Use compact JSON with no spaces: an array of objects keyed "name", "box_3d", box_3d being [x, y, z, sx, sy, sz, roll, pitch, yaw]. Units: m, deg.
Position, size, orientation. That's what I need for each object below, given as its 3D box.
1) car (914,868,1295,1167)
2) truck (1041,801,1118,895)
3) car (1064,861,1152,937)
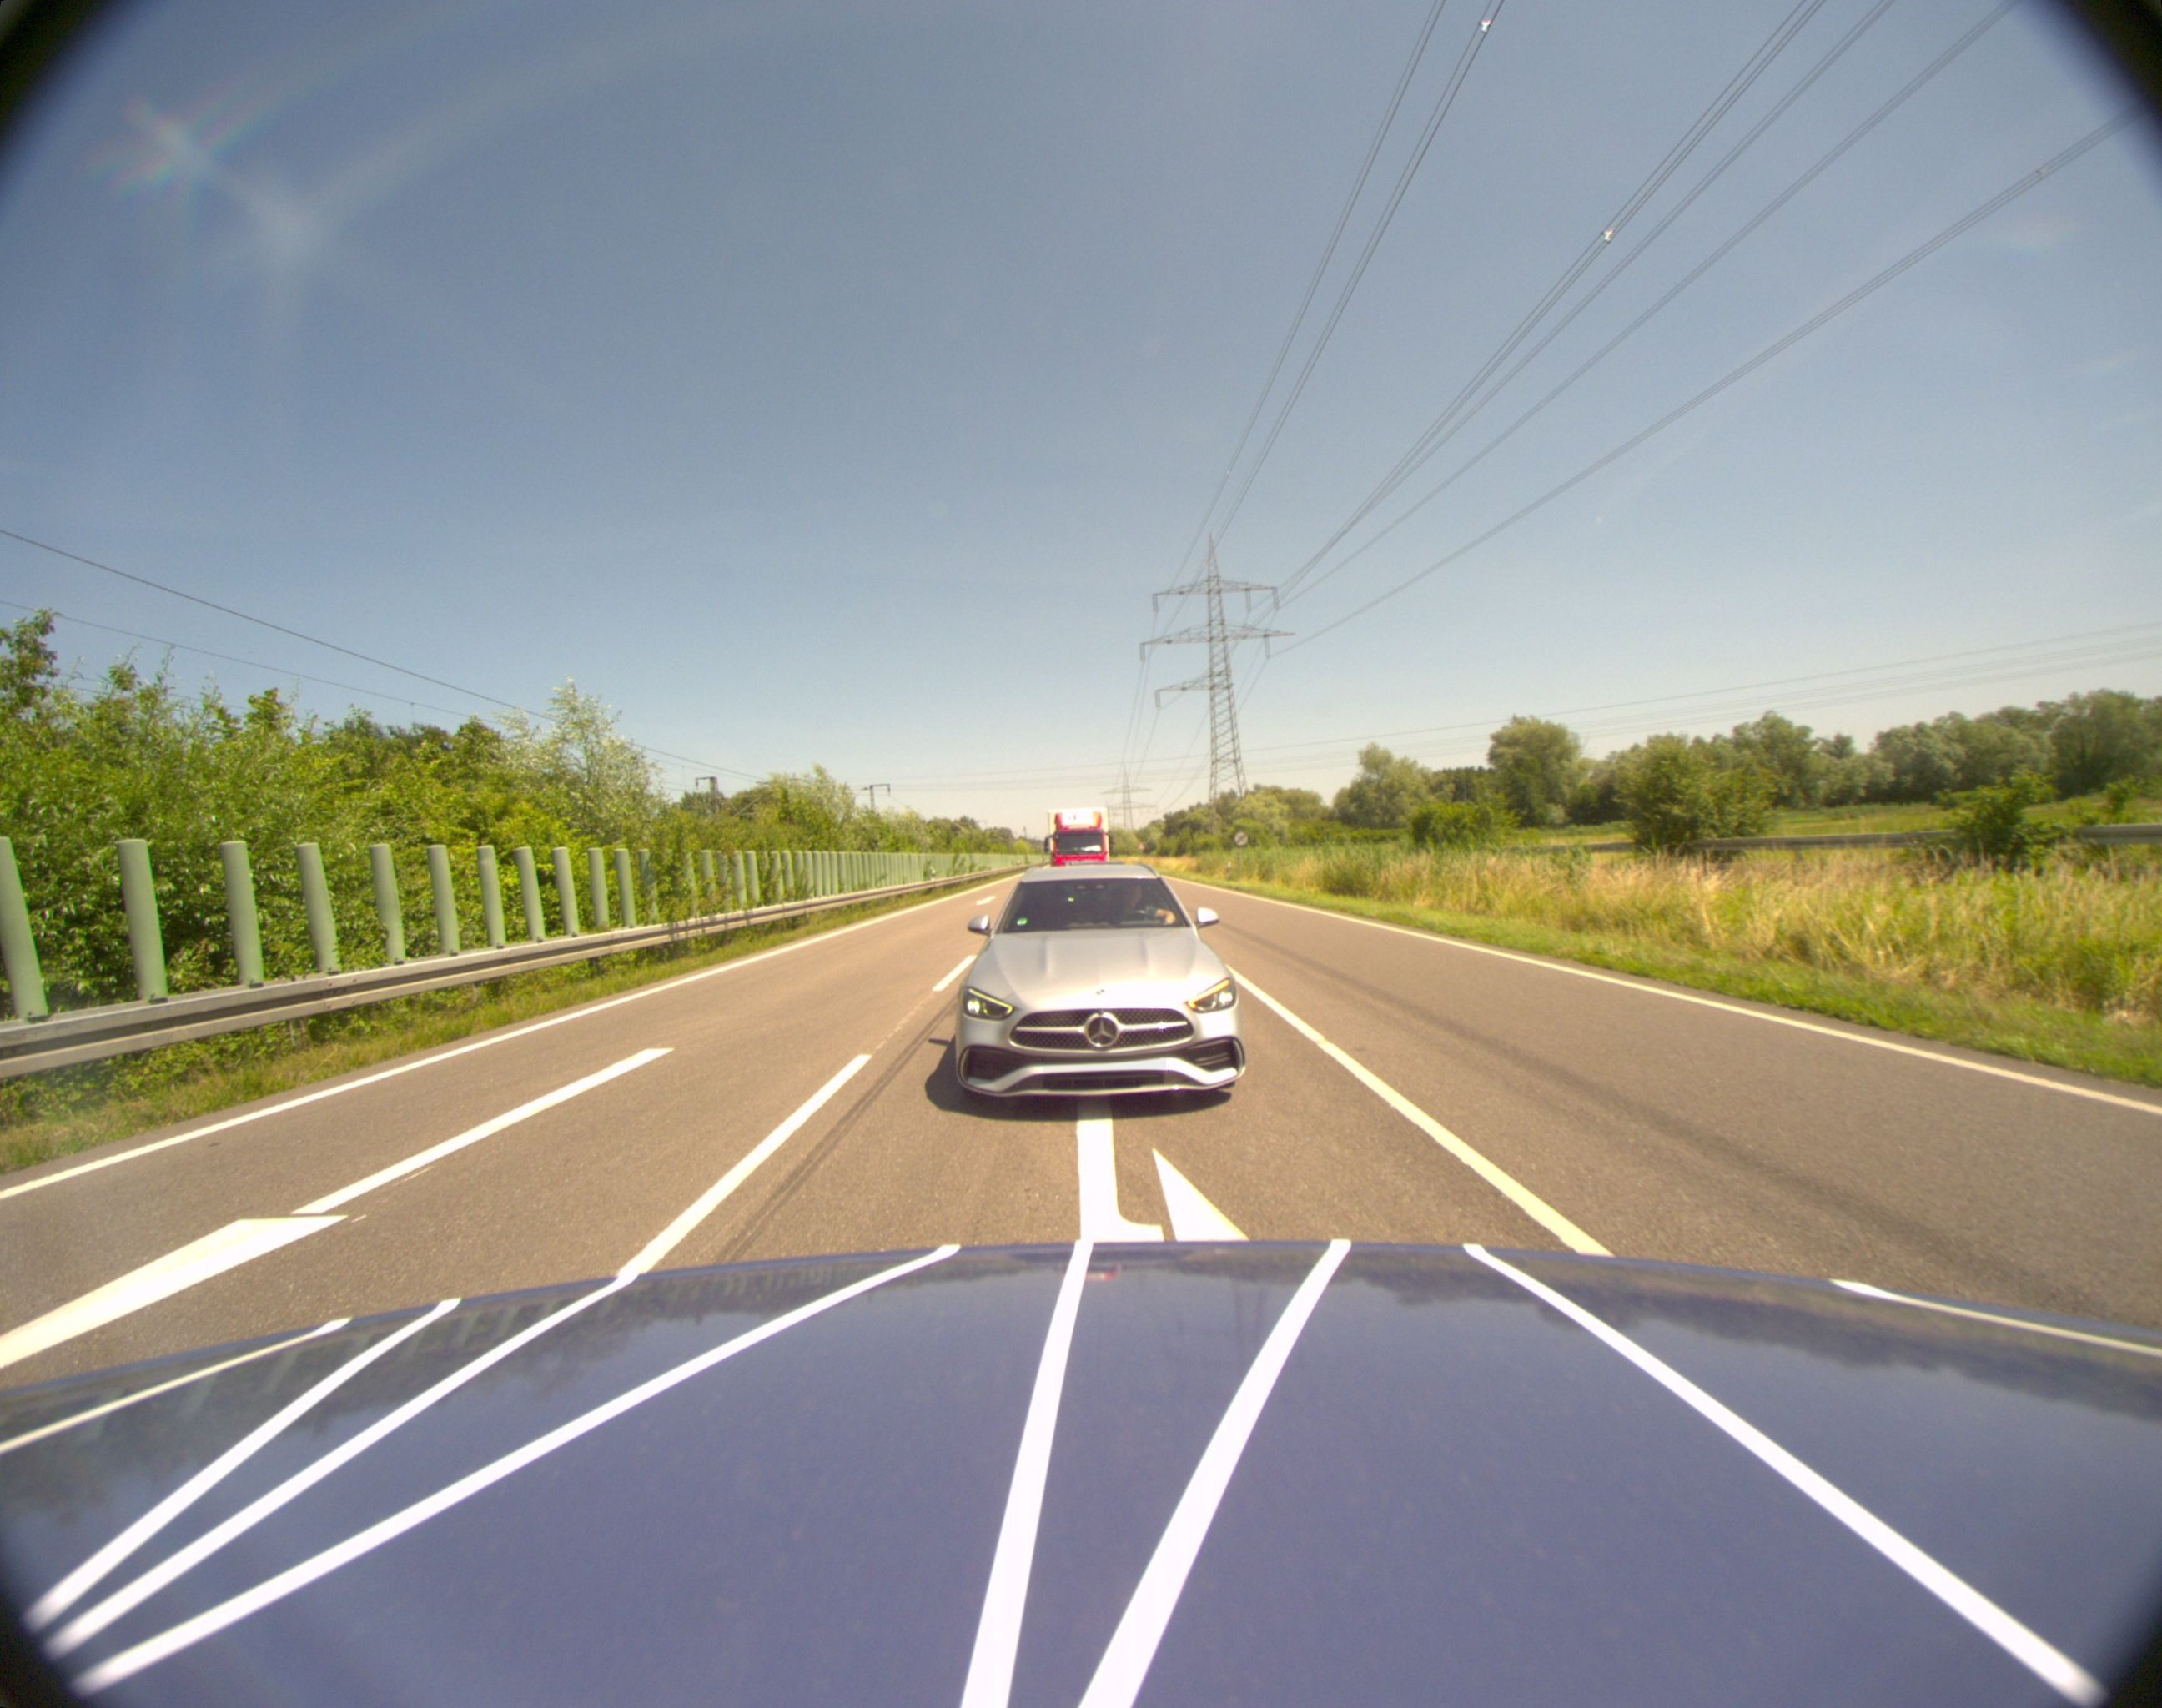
[{"name":"car","box_3d":[0.142,0.922,6.312,1.998,1.437,4.467,-2,0,0]},{"name":"truck","box_3d":[-0.054,-0.261,34.737,2.907,3.641,7.155,-4,0,0]},{"name":"car","box_3d":[0.571,0.906,17.307,1.698,1.385,4.467,-2,0,1]}]
